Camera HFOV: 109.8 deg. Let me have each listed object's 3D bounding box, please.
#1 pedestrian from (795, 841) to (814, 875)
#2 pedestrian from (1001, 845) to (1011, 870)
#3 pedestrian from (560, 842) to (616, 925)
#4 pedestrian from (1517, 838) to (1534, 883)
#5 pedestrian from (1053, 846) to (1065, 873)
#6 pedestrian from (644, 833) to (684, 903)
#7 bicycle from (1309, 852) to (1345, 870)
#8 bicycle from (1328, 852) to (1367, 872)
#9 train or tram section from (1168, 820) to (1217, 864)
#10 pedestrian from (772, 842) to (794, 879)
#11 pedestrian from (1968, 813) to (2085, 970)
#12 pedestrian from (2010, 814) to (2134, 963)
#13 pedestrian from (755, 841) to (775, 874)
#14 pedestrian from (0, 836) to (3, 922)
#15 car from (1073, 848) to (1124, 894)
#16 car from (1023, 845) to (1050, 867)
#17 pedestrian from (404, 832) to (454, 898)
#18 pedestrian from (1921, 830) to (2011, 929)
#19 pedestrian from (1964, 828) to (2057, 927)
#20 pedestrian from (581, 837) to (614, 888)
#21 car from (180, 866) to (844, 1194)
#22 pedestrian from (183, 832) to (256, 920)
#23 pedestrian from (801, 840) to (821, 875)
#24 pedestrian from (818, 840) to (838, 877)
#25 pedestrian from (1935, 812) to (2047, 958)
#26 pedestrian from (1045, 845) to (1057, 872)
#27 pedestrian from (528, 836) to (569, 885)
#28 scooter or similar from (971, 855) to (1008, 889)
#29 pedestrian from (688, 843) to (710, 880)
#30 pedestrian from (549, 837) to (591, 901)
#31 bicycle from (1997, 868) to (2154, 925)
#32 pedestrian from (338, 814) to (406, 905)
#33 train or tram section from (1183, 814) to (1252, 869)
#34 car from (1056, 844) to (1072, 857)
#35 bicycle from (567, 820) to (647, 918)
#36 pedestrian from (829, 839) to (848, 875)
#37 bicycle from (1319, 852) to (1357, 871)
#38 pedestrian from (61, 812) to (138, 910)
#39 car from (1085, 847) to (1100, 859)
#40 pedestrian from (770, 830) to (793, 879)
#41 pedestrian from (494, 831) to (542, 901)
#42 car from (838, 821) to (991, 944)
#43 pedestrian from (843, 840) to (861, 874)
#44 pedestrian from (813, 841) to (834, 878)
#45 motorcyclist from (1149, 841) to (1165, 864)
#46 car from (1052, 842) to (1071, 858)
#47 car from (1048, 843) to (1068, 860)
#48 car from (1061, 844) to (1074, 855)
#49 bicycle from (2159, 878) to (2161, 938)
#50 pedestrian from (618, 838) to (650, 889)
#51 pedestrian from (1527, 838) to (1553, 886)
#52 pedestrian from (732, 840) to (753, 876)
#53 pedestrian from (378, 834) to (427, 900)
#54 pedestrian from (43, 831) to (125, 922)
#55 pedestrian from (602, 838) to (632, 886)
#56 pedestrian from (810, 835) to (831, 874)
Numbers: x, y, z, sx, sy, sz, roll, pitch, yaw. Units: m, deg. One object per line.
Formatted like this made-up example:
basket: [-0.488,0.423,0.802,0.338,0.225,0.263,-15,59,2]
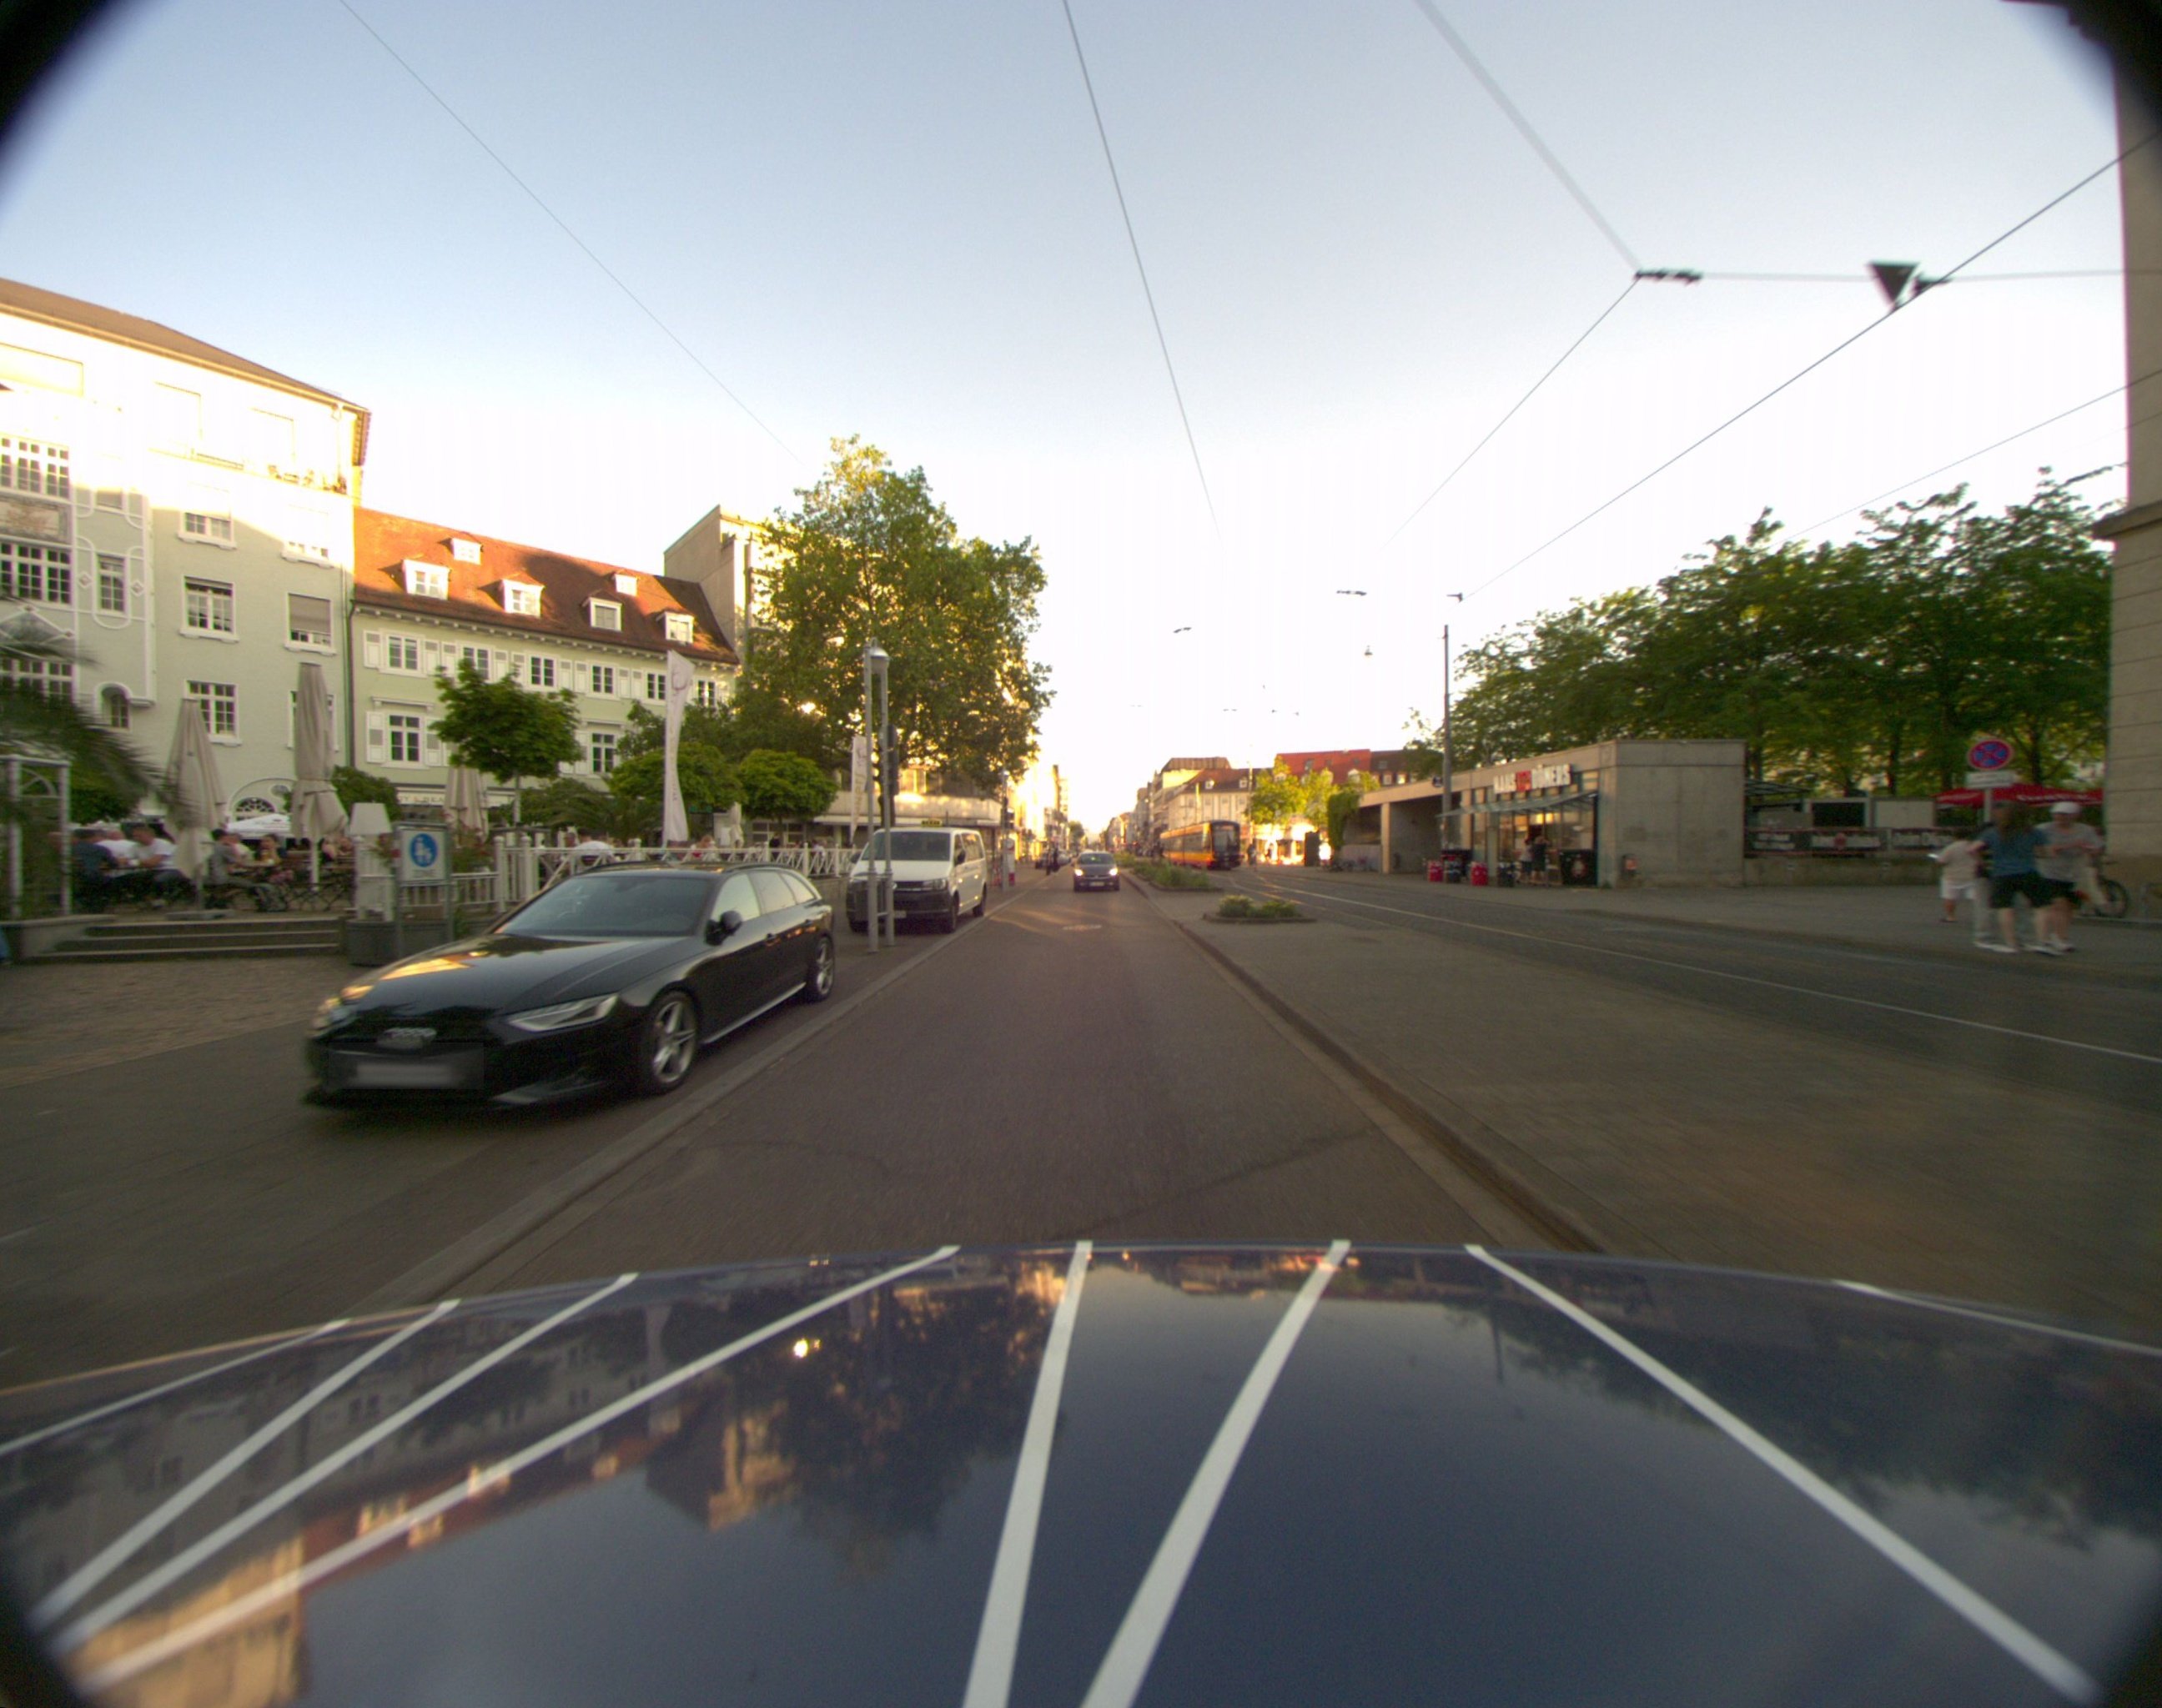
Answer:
pedestrian: [-10.625,0.141,29.254,0.532,1.289,0.491,0,1,1]
pedestrian: [-4.952,0.222,50.269,0.638,1.616,0.519,-1,2,-10]
pedestrian: [-7.734,0.453,11.943,0.532,1.289,0.491,0,1,1]
pedestrian: [16.457,0.246,28.124,0.394,1.643,0.401,-2,2,-5]
pedestrian: [-1.336,0.342,46.264,0.638,1.616,0.519,-1,2,-10]
pedestrian: [-7.796,0.259,14.224,0.532,1.289,0.490,-1,1,-14]
bicycle: [15.953,0.458,49.254,2.131,1.153,0.692,-1,1,2]
bicycle: [16.103,0.461,45.895,2.131,1.153,0.692,-1,1,2]
train or tram section: [10.184,-1.062,70.611,2.902,3.664,11.982,-1,0,1]
pedestrian: [-10.387,0.220,26.492,0.532,1.289,0.491,0,1,1]
pedestrian: [10.818,0.408,8.719,0.678,1.726,0.483,2,1,30]
pedestrian: [11.982,0.400,9.201,0.677,1.726,0.679,1,1,-18]
pedestrian: [-12.431,0.130,29.888,0.532,1.289,0.491,0,1,1]
pedestrian: [-16.863,0.387,11.435,0.490,1.325,0.532,0,1,1]
car: [0.632,0.569,28.341,1.738,1.495,3.999,-1,1,1]
car: [-3.492,0.125,60.323,1.771,1.565,3.999,2,1,1]
pedestrian: [-13.896,0.232,16.210,0.590,1.369,0.532,-1,1,-6]
pedestrian: [14.398,0.397,12.373,0.661,1.553,0.679,-1,1,-3]
pedestrian: [15.106,0.367,12.368,0.661,1.553,0.679,-1,1,-3]
pedestrian: [-12.682,0.213,19.932,0.490,1.325,0.532,0,1,1]
car: [-3.418,0.879,5.897,1.701,1.382,4.546,1,1,0]
pedestrian: [-13.310,0.336,11.749,0.490,1.325,0.532,0,1,1]
pedestrian: [-10.193,0.121,28.690,0.532,1.289,0.491,0,1,1]
pedestrian: [-9.054,0.152,27.211,0.532,1.289,0.491,0,1,1]
pedestrian: [11.165,0.368,9.338,0.650,1.726,0.594,1,1,-8]
pedestrian: [-1.858,0.263,47.045,0.638,1.616,0.519,-1,2,-10]
pedestrian: [-14.854,0.179,21.205,0.628,1.325,0.664,0,1,1]
scooter or similar: [-3.494,0.683,29.136,1.345,1.225,0.535,1,2,-2]
pedestrian: [-13.461,0.245,26.785,0.532,1.289,0.491,0,1,1]
pedestrian: [-10.743,0.303,15.994,0.532,1.325,0.491,0,1,1]
bicycle: [16.731,0.699,12.808,1.839,0.863,0.635,-2,2,-1]
pedestrian: [-13.412,0.092,14.395,0.590,1.682,0.732,-1,1,-6]
train or tram section: [10.105,-0.884,57.845,2.902,3.664,13.480,-1,0,1]
car: [-2.029,-0.439,93.012,1.771,1.565,3.999,2,1,1]
bicycle: [-7.087,0.202,11.411,0.344,1.383,1.291,-1,1,0]
pedestrian: [-9.091,0.108,28.499,0.532,1.325,0.491,0,1,1]
bicycle: [16.069,0.490,47.517,2.131,1.153,0.692,-1,1,2]
pedestrian: [-17.280,0.110,13.391,0.532,1.687,0.590,-1,1,-6]
car: [1.528,-0.142,100.472,1.810,1.475,4.283,-3,0,0]
pedestrian: [-9.578,0.016,24.300,0.490,1.549,0.532,0,1,1]
pedestrian: [-10.868,0.223,14.679,0.532,1.325,0.491,0,1,1]
car: [-3.095,0.435,15.341,1.857,2.055,5.214,0,1,1]
pedestrian: [-8.989,0.100,29.824,0.532,1.325,0.491,0,1,1]
pedestrian: [-8.999,0.185,26.552,0.532,1.289,0.491,0,1,1]
motorcyclist: [4.949,-0.098,49.467,0.800,1.431,0.799,-2,2,-17]
car: [-2.046,-0.418,80.563,1.771,1.565,3.999,2,1,1]
car: [-2.274,-0.235,74.848,1.771,1.565,3.999,2,1,1]
car: [-2.031,-0.708,112.510,1.771,1.565,3.999,2,1,1]
bicycle: [16.614,0.763,10.755,1.839,0.863,0.635,-2,2,-1]
pedestrian: [-11.687,0.246,19.867,0.532,1.325,0.491,0,1,1]
pedestrian: [16.118,0.285,26.684,0.563,1.643,0.552,-2,2,-5]
pedestrian: [-12.536,0.144,28.182,0.532,1.289,0.491,0,1,1]
pedestrian: [-13.910,0.267,15.583,0.490,1.325,0.532,0,1,1]
pedestrian: [-14.802,0.329,11.292,0.490,1.325,0.532,0,1,1]
pedestrian: [-12.898,0.211,21.142,0.490,1.325,0.532,0,1,1]
pedestrian: [-8.909,0.026,25.974,0.532,1.325,0.491,0,1,1]
